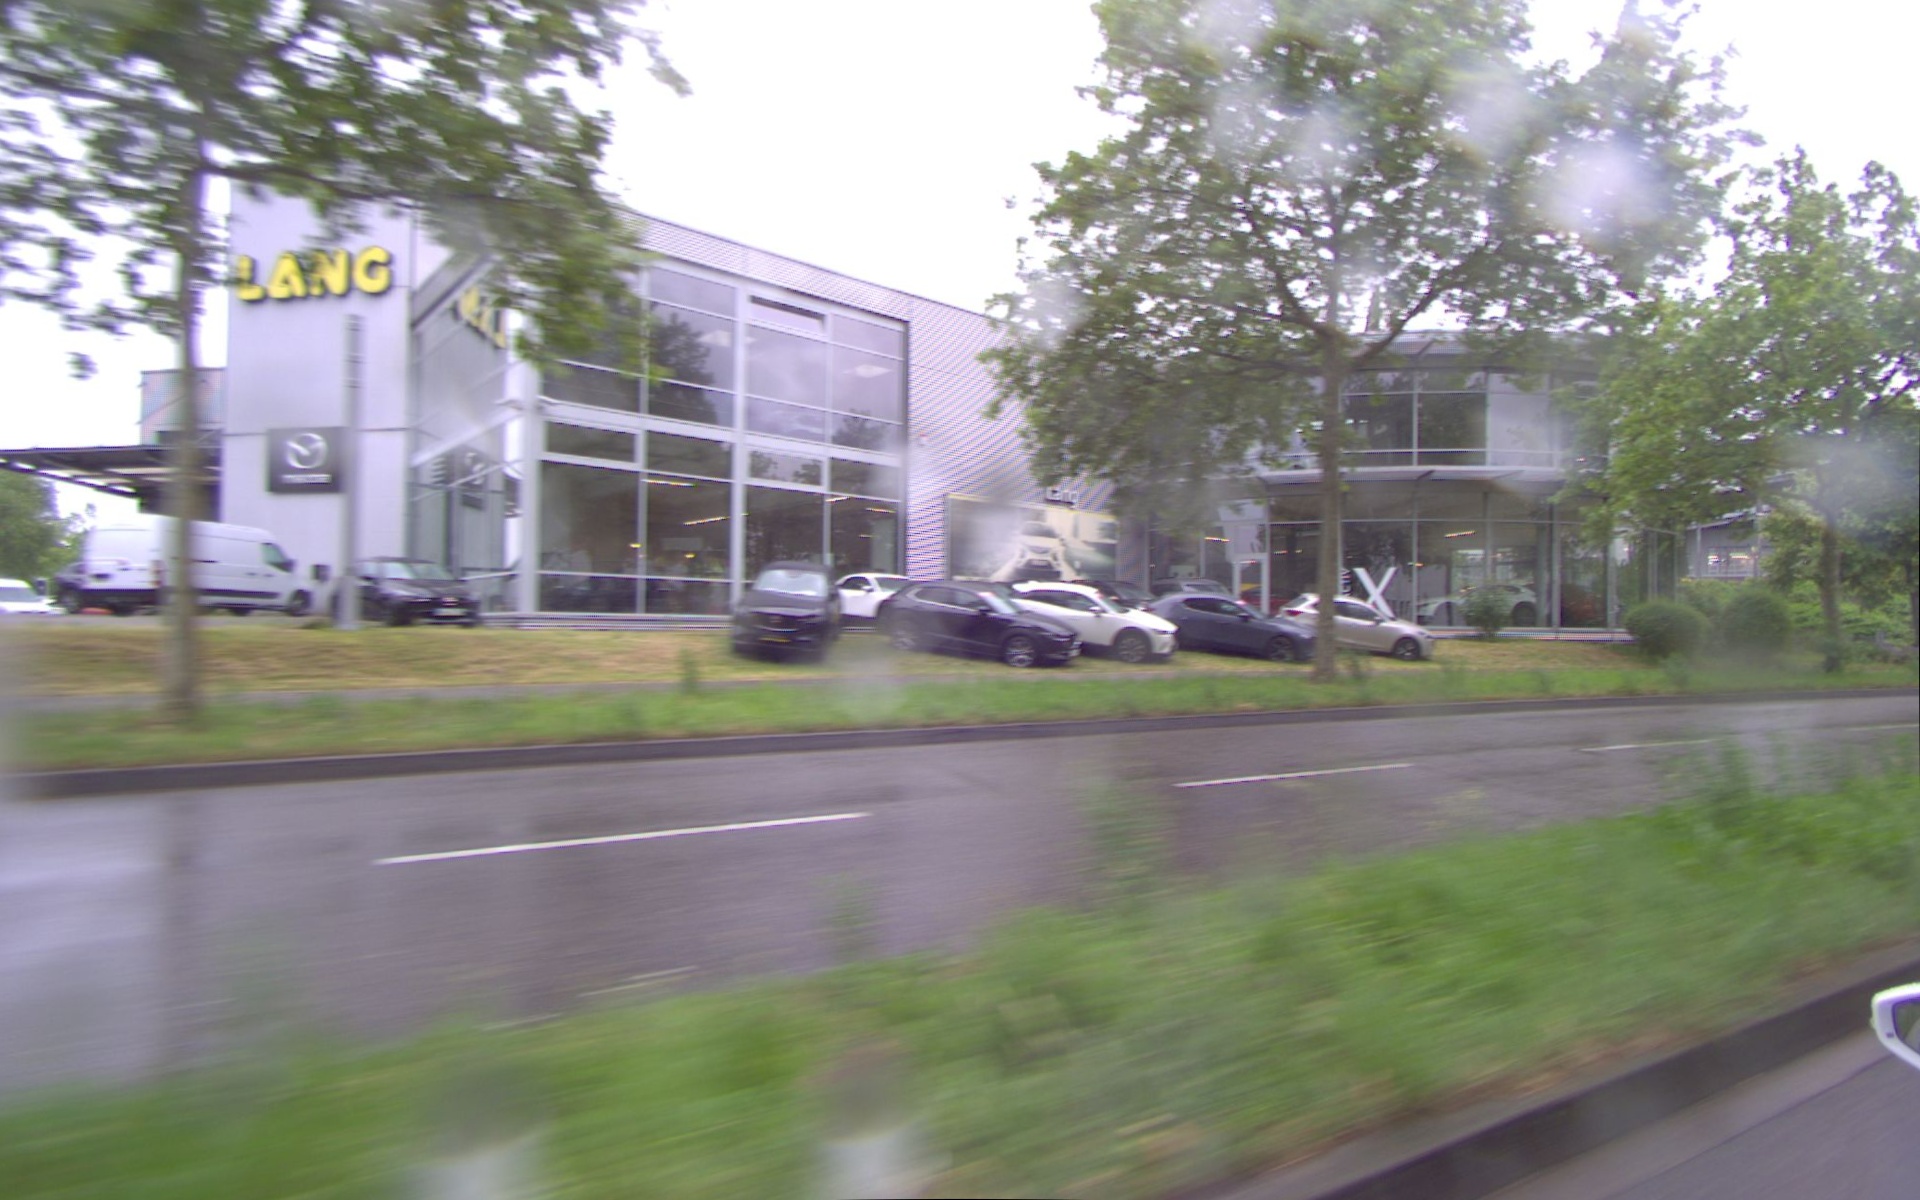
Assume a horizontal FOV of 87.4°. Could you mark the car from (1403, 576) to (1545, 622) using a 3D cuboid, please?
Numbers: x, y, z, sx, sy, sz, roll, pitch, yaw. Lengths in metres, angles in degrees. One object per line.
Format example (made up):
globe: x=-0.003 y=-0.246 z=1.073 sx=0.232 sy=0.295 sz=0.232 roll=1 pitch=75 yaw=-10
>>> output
car: x=17.832 y=-0.013 z=34.983 sx=4.030 sy=1.495 sz=1.785 roll=1 pitch=0 yaw=2

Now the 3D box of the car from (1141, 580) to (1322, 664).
car: x=6.705 y=0.485 z=24.751 sx=4.049 sy=1.442 sz=1.847 roll=6 pitch=7 yaw=19

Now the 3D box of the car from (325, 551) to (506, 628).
car: x=-11.226 y=-0.263 z=20.629 sx=3.945 sy=1.376 sz=1.840 roll=3 pitch=3 yaw=37

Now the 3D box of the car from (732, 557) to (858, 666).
car: x=-3.234 y=0.123 z=20.523 sx=1.811 sy=1.578 sz=4.433 roll=4 pitch=6 yaw=-1

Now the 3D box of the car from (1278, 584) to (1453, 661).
car: x=10.649 y=0.555 z=26.683 sx=3.920 sy=1.496 sz=1.785 roll=5 pitch=6 yaw=11

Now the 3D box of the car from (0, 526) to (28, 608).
car: x=-17.075 y=-0.566 z=16.615 sx=1.829 sy=1.376 sz=3.969 roll=0 pitch=3 yaw=-35

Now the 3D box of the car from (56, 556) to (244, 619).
car: x=-25.489 y=-0.386 z=31.680 sx=4.560 sy=1.788 sz=1.821 roll=2 pitch=1 yaw=4

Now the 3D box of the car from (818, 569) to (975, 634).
car: x=-1.715 y=0.036 z=25.541 sx=1.902 sy=1.493 sz=4.389 roll=1 pitch=0 yaw=-37

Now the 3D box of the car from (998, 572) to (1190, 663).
car: x=3.109 y=0.344 z=23.100 sx=4.048 sy=1.499 sz=1.847 roll=6 pitch=6 yaw=16

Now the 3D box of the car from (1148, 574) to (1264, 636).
car: x=7.524 y=0.148 z=31.200 sx=1.885 sy=1.761 sz=4.429 roll=1 pitch=0 yaw=-9

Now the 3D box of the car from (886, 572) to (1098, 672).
car: x=0.685 y=0.392 z=21.474 sx=4.052 sy=1.499 sz=1.845 roll=7 pitch=7 yaw=24

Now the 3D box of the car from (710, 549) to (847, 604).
car: x=-5.413 y=-0.652 z=29.617 sx=1.907 sy=1.493 sz=4.379 roll=1 pitch=0 yaw=-43

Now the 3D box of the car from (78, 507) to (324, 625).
car: x=-20.046 y=-0.840 z=26.927 sx=2.127 sy=2.789 sz=5.341 roll=2 pitch=1 yaw=7

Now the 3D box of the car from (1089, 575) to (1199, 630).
car: x=5.411 y=0.075 z=30.168 sx=1.885 sy=1.493 sz=4.429 roll=1 pitch=0 yaw=-9

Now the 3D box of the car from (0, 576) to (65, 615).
car: x=-44.569 y=-0.233 z=46.968 sx=4.618 sy=1.752 sz=1.986 roll=1 pitch=1 yaw=18
